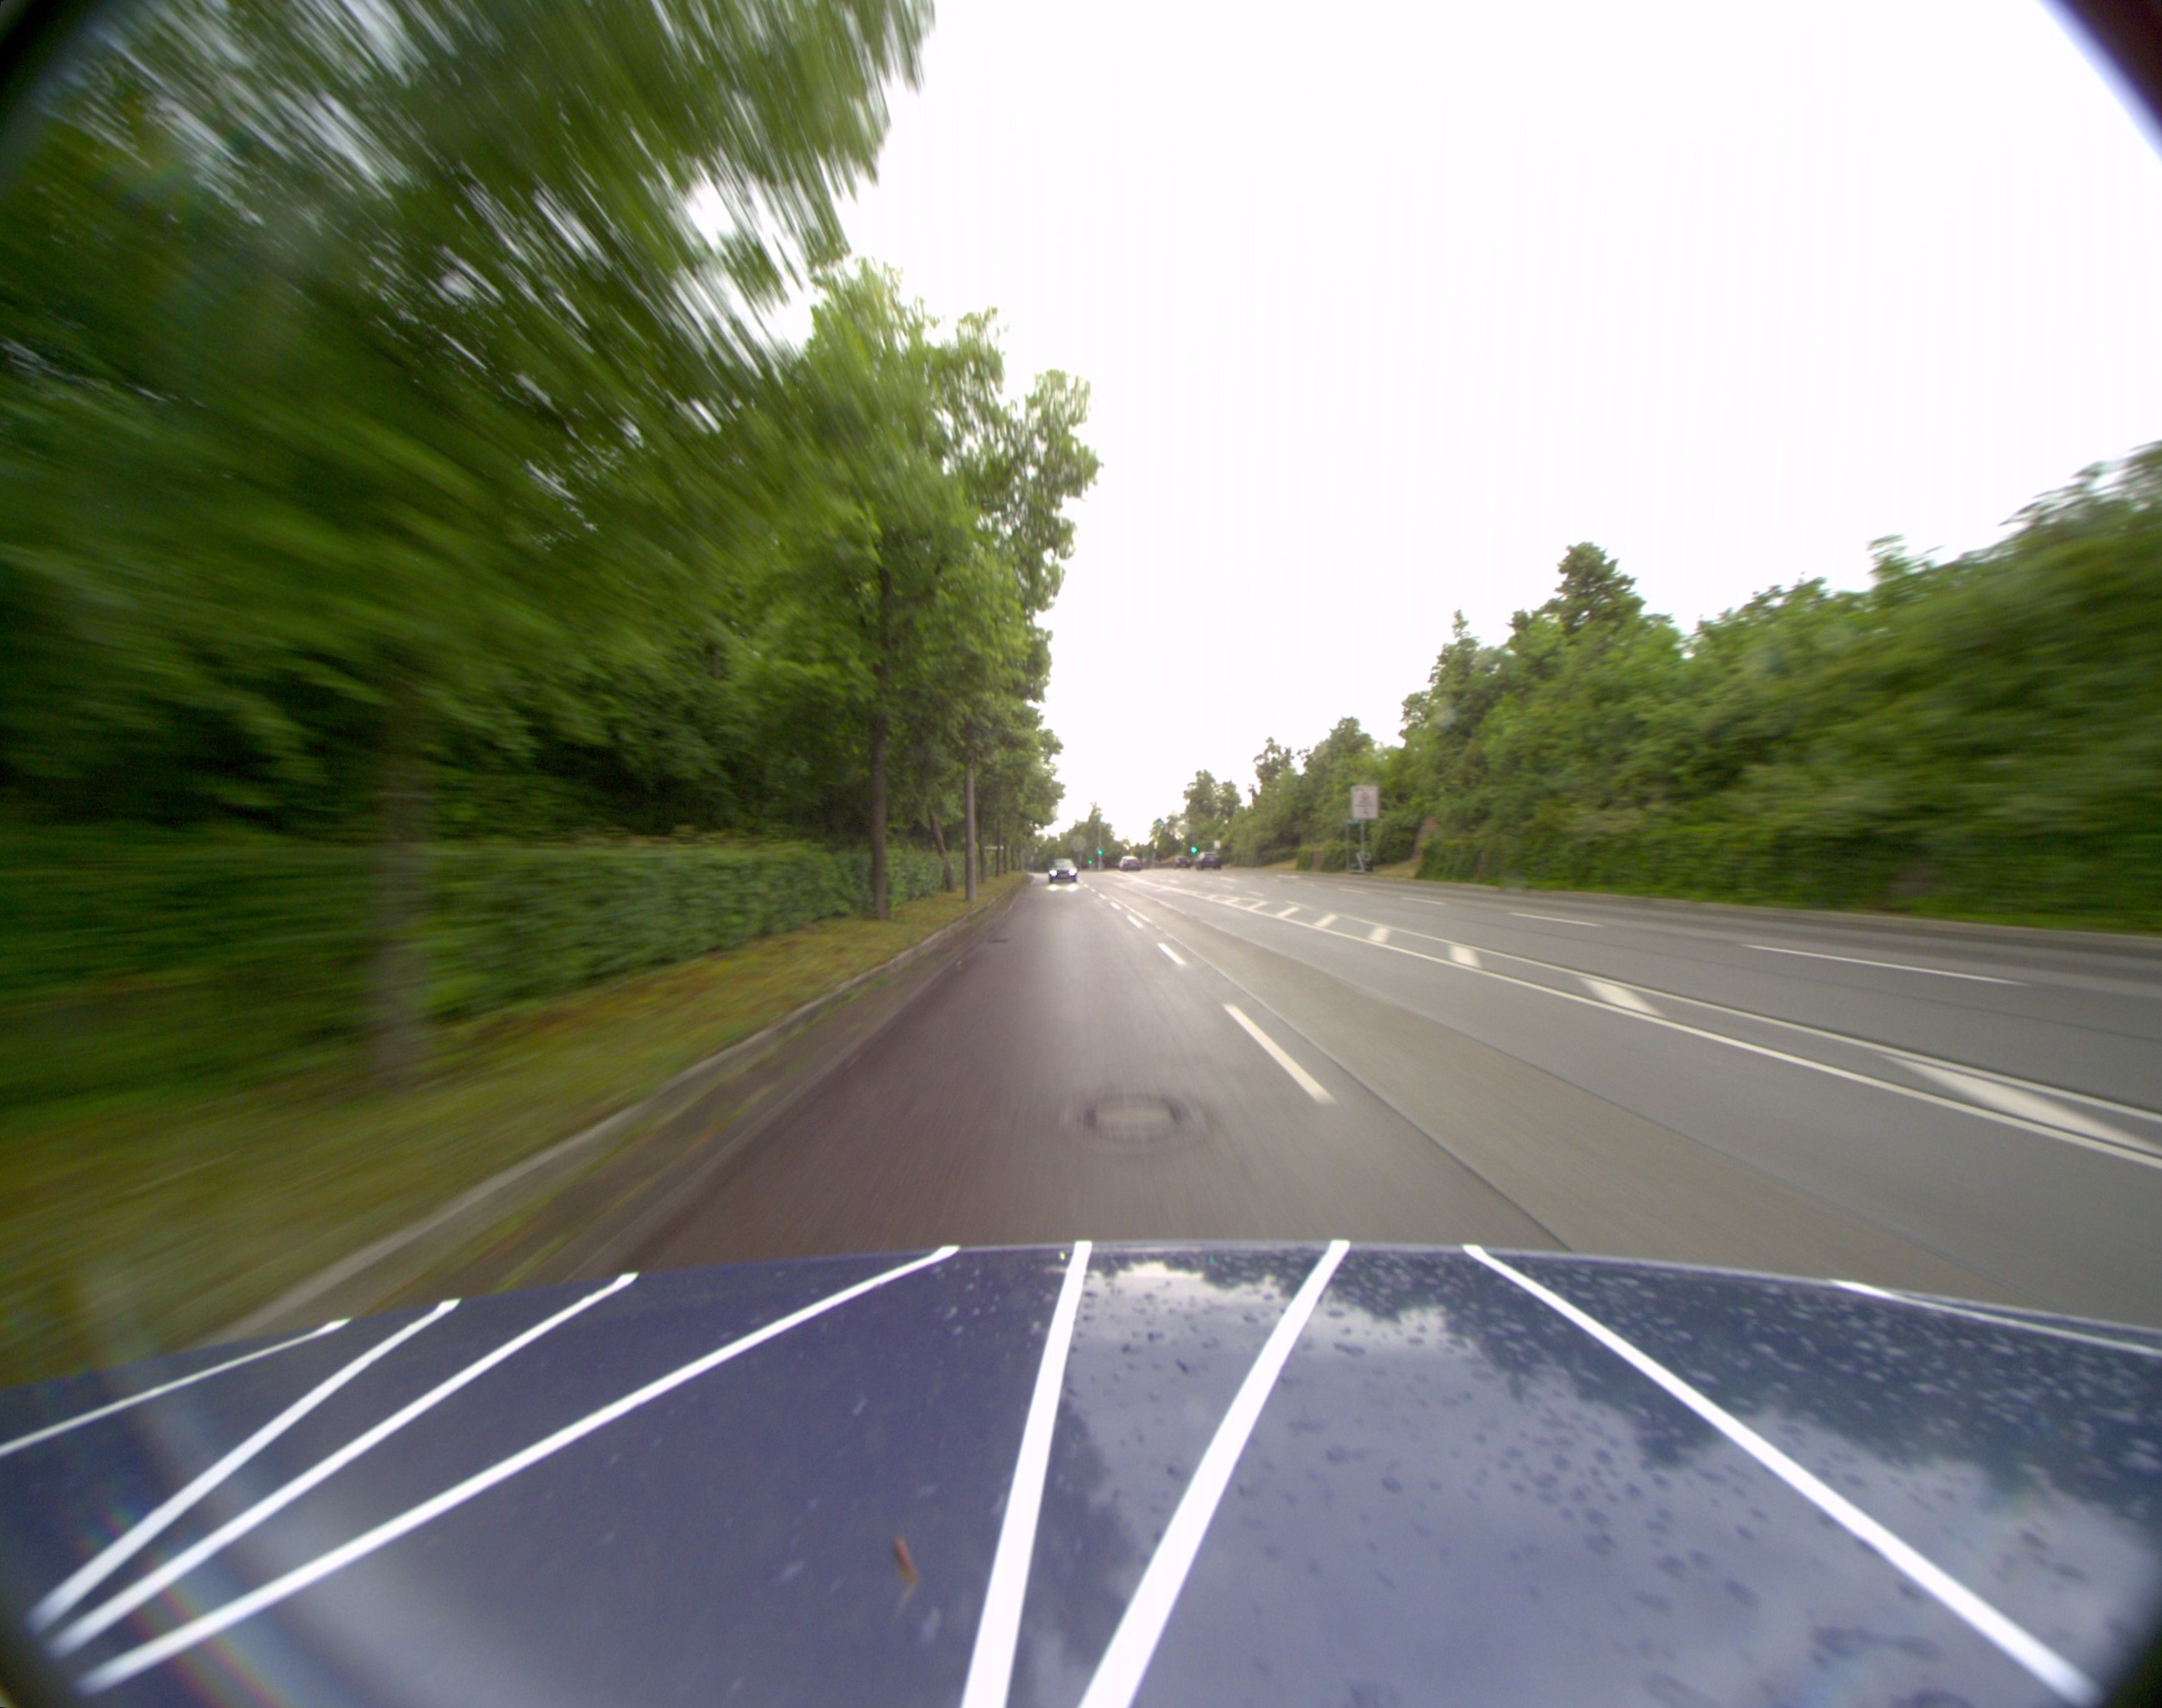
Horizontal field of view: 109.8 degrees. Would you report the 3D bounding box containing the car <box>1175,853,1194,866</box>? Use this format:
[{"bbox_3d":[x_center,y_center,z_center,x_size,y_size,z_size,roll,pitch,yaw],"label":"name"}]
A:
[{"bbox_3d":[12.081,0.643,88.907,1.679,1.459,3.862,-2,0,0],"label":"car"}]

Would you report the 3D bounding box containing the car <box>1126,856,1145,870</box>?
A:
[{"bbox_3d":[5.855,0.956,82.634,1.781,1.459,3.997,-2,0,0],"label":"car"}]

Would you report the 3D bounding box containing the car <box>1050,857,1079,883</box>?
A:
[{"bbox_3d":[-1.018,1.033,49.363,1.738,1.577,4.286,-2,0,0],"label":"car"}]

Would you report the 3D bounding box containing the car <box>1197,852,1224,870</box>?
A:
[{"bbox_3d":[11.955,0.647,70.301,1.804,1.597,4.428,-2,0,1],"label":"car"}]

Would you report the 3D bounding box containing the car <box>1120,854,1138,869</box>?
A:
[{"bbox_3d":[5.852,0.897,92.148,1.891,1.646,4.450,-2,0,0],"label":"car"}]
